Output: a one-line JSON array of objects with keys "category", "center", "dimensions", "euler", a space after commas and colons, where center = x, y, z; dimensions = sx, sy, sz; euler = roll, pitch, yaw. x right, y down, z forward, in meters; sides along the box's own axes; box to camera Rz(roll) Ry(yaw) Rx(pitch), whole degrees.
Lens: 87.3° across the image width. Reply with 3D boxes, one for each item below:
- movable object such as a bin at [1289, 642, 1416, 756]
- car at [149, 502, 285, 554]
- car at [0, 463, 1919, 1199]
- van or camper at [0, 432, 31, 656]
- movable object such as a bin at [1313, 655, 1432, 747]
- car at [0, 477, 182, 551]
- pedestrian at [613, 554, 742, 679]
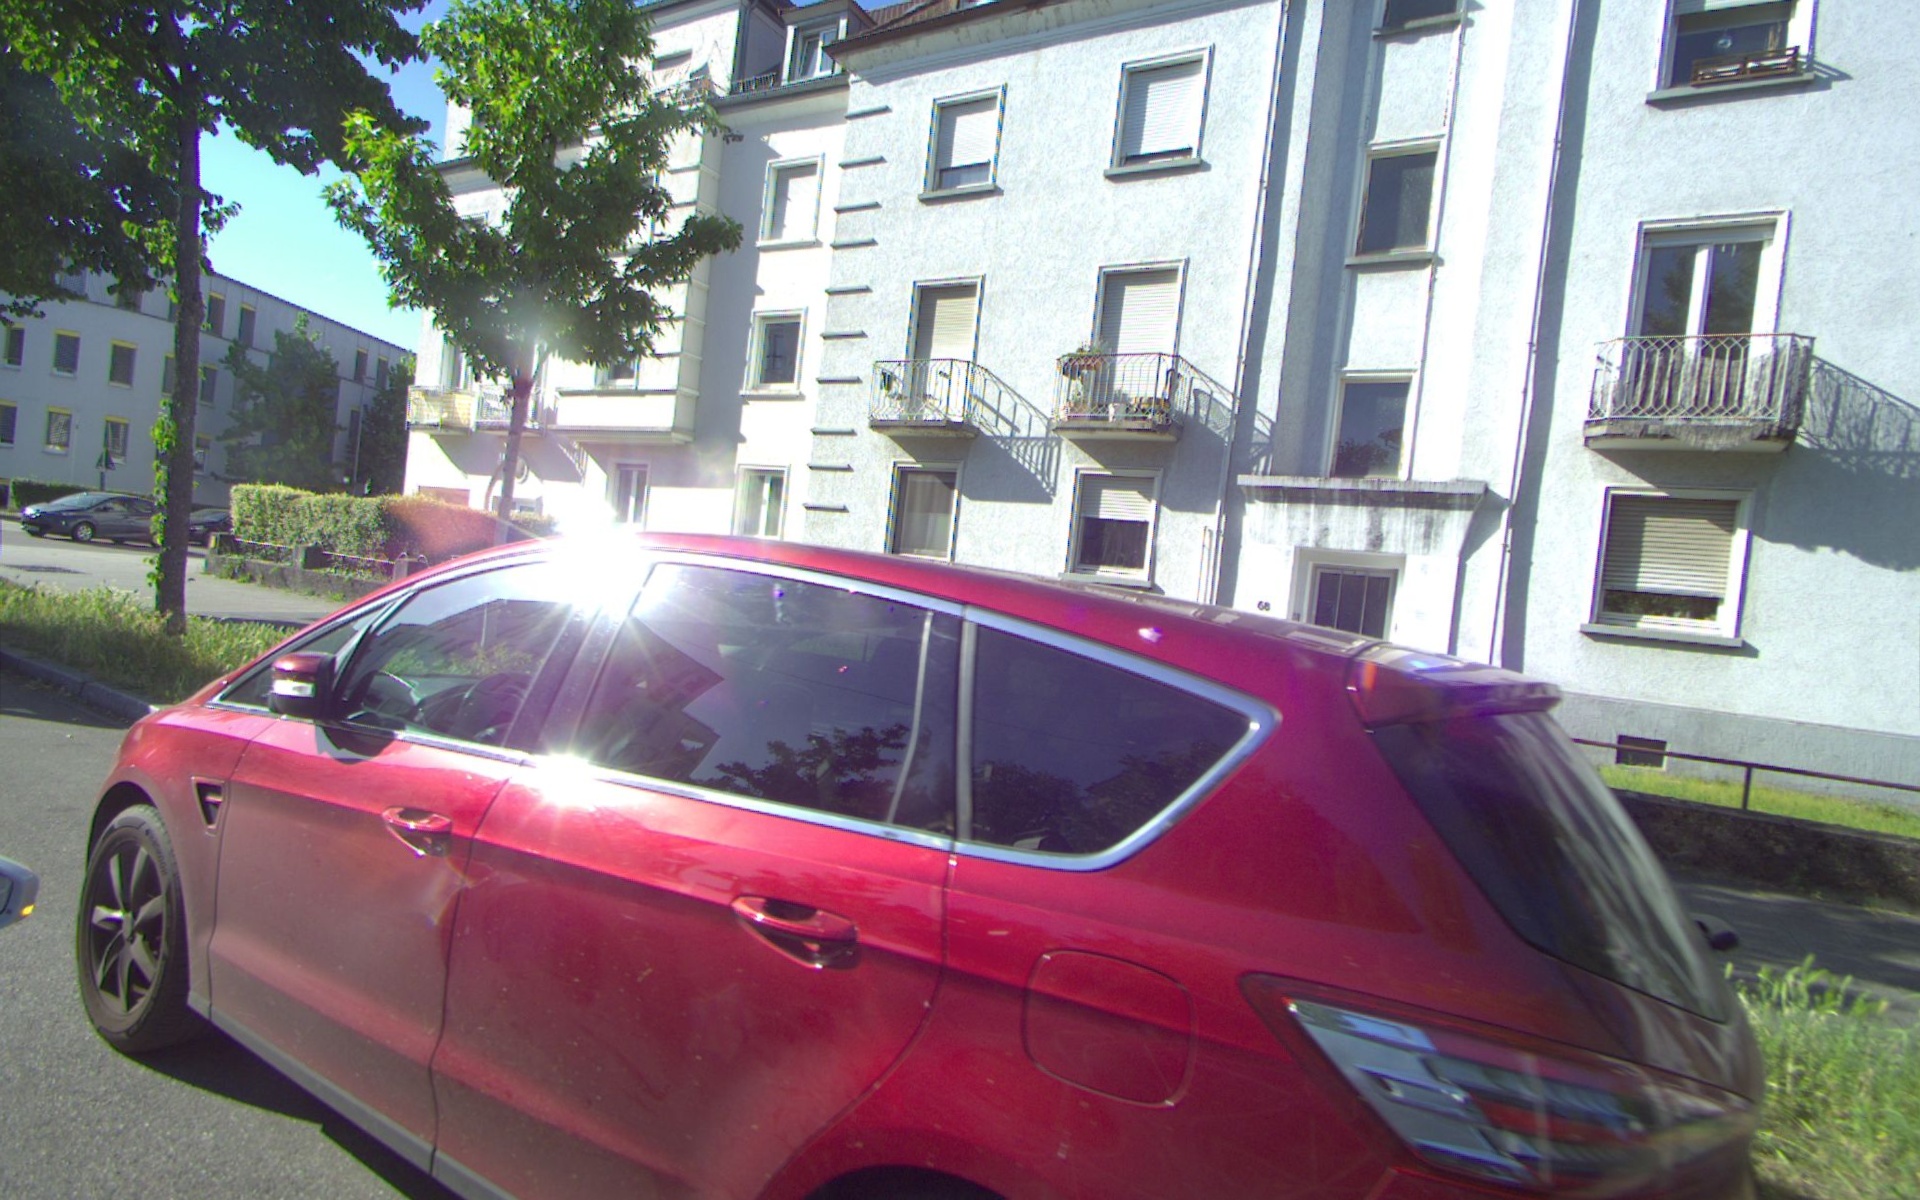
[{"category": "movable object such as a bin", "center": [4.148, 1.041, 10.633], "dimensions": [0.994, 1.038, 0.776], "euler": [6, -2, 36]}, {"category": "car", "center": [-28.584, -2.726, 38.891], "dimensions": [1.761, 1.428, 4.224], "euler": [8, 0, 4]}, {"category": "car", "center": [-0.684, 0.641, 2.862], "dimensions": [4.892, 1.632, 1.901], "euler": [6, -1, 33]}, {"category": "van or camper", "center": [-10.809, -0.797, 9.147], "dimensions": [5.298, 1.884, 1.993], "euler": [6, -2, 32]}, {"category": "movable object such as a bin", "center": [4.640, 1.137, 11.318], "dimensions": [0.995, 0.872, 0.776], "euler": [6, -2, 37]}, {"category": "car", "center": [-26.580, -2.569, 30.872], "dimensions": [1.808, 1.521, 4.142], "euler": [7, -1, 6]}, {"category": "pedestrian", "center": [-3.319, 0.211, 11.885], "dimensions": [0.805, 1.310, 1.084], "euler": [6, -2, 30]}]
